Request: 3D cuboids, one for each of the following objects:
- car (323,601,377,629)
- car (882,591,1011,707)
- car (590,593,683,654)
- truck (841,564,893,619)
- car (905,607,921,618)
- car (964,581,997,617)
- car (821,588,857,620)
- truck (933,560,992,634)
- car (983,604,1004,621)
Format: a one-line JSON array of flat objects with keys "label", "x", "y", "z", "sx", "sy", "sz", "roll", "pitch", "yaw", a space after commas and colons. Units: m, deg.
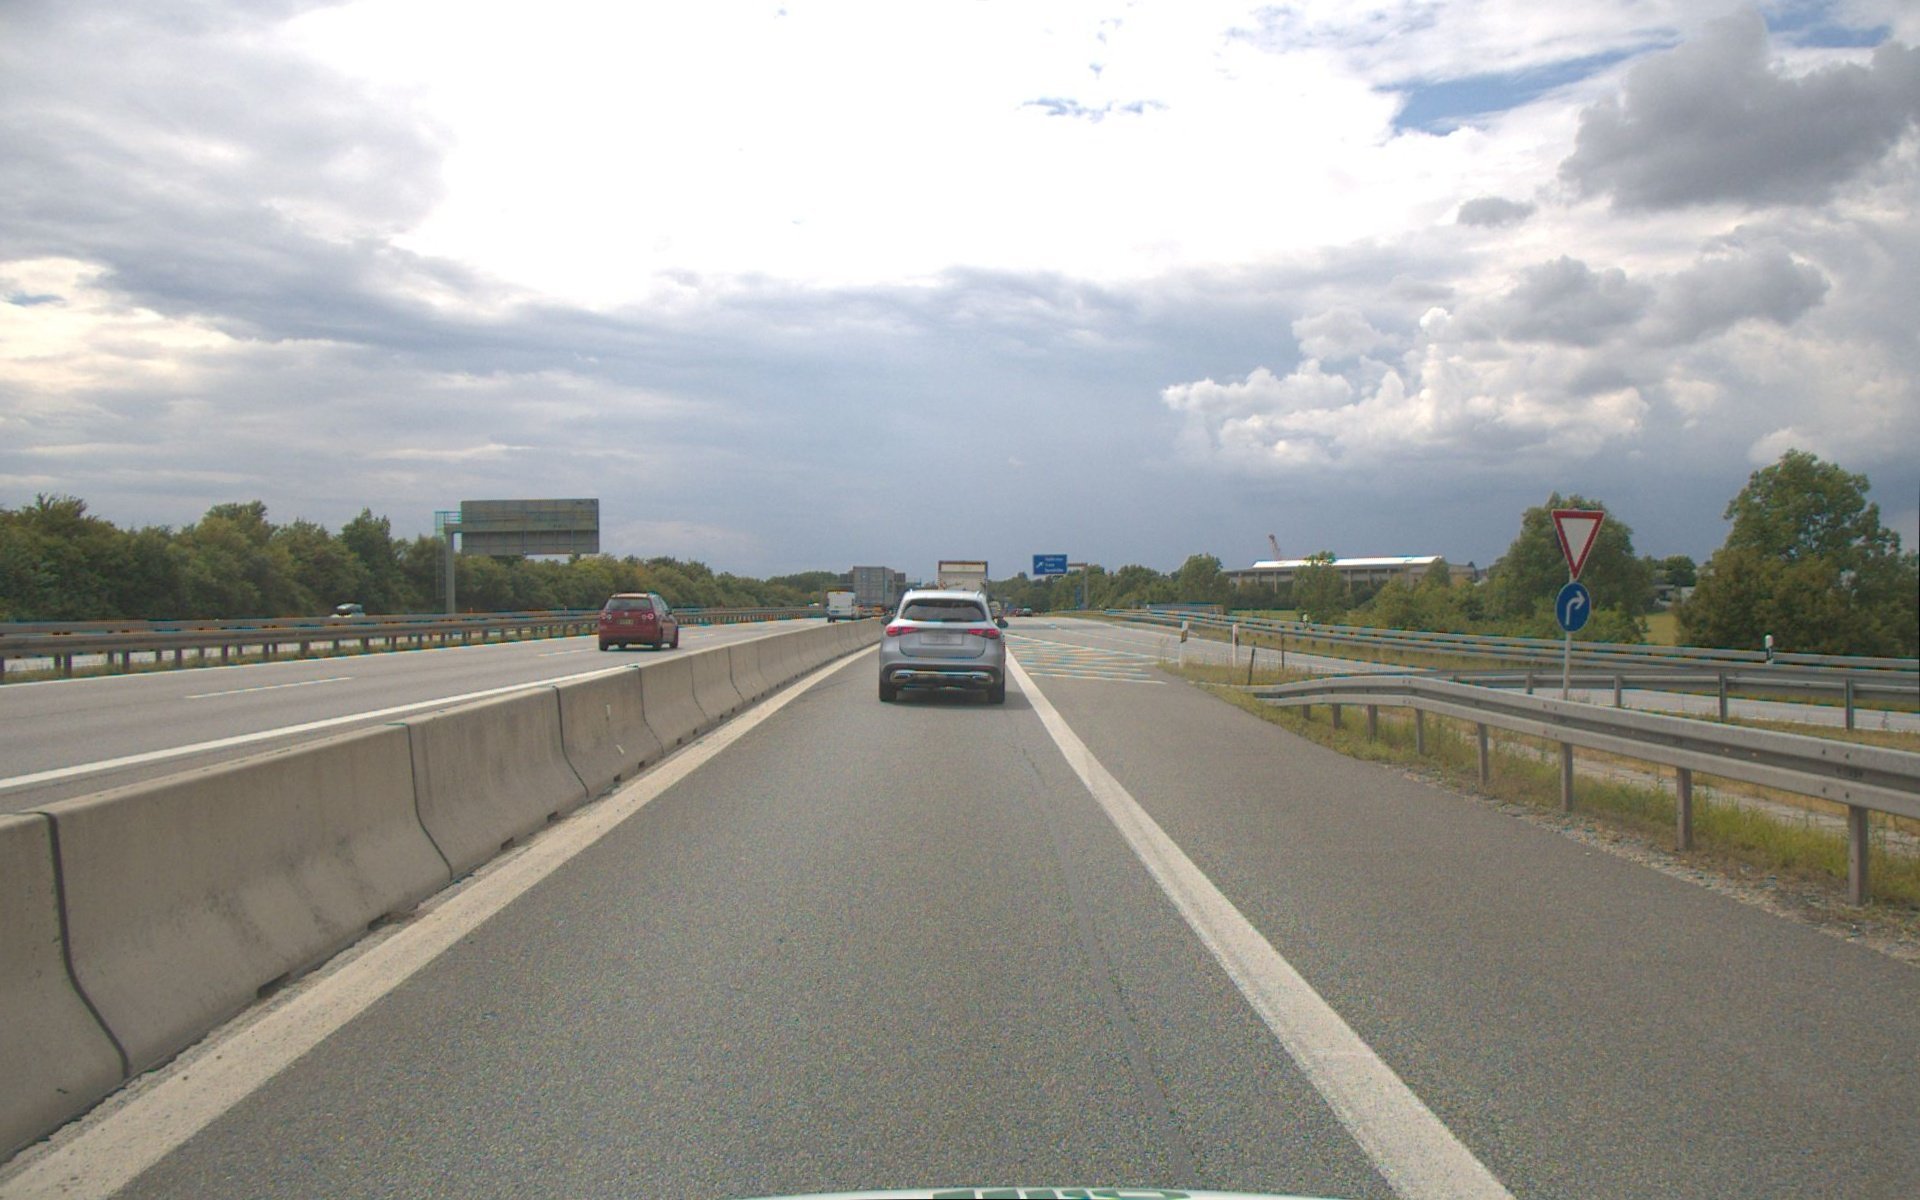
[{"label": "car", "x": -34.664, "y": 0.840, "z": 94.087, "sx": 1.607, "sy": 1.567, "sz": 4.000, "roll": 1, "pitch": 0, "yaw": 0}, {"label": "car", "x": -0.210, "y": 0.679, "z": 25.197, "sx": 1.782, "sy": 1.541, "sz": 4.000, "roll": 1, "pitch": 1, "yaw": -1}, {"label": "car", "x": -9.190, "y": 0.631, "z": 47.314, "sx": 1.782, "sy": 1.573, "sz": 4.355, "roll": 1, "pitch": 1, "yaw": 0}, {"label": "truck", "x": -7.266, "y": -0.767, "z": 131.898, "sx": 3.118, "sy": 4.089, "sz": 16.076, "roll": 1, "pitch": 1, "yaw": 0}, {"label": "car", "x": -5.764, "y": 1.583, "z": 203.559, "sx": 1.661, "sy": 1.310, "sz": 4.001, "roll": 1, "pitch": 0, "yaw": 2}, {"label": "car", "x": 1.258, "y": -0.095, "z": 99.342, "sx": 1.952, "sy": 2.048, "sz": 4.001, "roll": 1, "pitch": 1, "yaw": 1}, {"label": "car", "x": -8.024, "y": 0.236, "z": 110.113, "sx": 1.952, "sy": 2.048, "sz": 4.375, "roll": 1, "pitch": 1, "yaw": 1}, {"label": "truck", "x": 0.066, "y": -0.111, "z": 76.197, "sx": 2.516, "sy": 3.180, "sz": 8.633, "roll": 1, "pitch": 0, "yaw": 0}, {"label": "car", "x": 2.660, "y": 0.971, "z": 130.982, "sx": 1.661, "sy": 1.310, "sz": 4.001, "roll": 1, "pitch": 0, "yaw": 2}]
